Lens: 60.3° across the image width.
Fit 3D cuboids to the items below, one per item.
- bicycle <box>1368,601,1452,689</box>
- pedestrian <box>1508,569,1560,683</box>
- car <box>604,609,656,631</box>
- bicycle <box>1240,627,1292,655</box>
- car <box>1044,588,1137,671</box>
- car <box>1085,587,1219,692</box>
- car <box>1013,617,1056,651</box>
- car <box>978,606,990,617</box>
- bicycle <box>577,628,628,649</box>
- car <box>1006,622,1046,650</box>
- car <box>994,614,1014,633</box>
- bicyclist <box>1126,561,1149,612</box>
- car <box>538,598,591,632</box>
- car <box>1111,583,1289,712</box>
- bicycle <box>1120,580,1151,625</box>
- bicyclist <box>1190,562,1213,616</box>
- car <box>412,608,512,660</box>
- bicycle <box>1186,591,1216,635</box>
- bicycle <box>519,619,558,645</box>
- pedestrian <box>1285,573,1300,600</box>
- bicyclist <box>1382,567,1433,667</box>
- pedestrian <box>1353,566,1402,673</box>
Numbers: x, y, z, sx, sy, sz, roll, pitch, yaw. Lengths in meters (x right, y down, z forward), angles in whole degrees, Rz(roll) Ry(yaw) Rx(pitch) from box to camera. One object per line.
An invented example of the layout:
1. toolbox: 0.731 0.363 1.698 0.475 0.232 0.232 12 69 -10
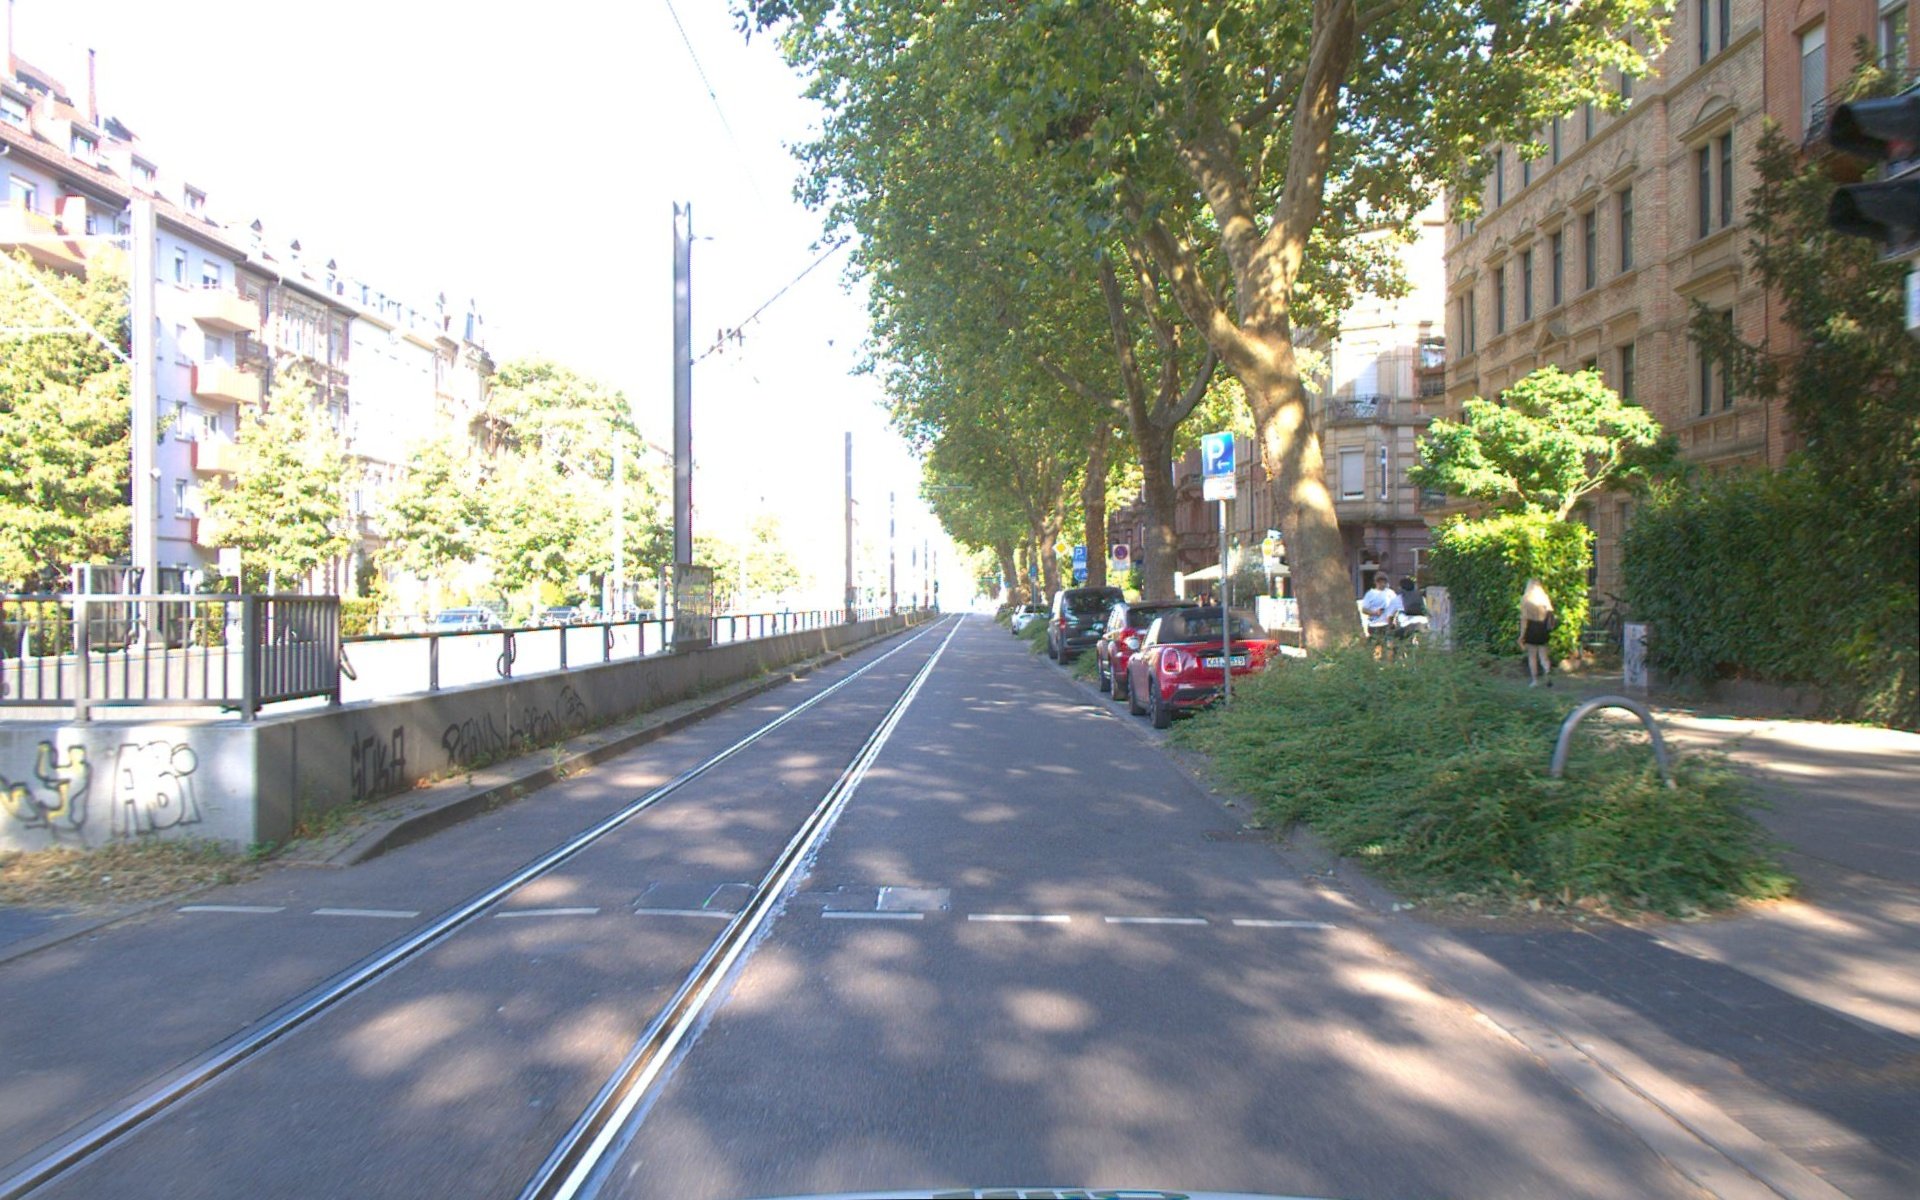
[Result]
1. bicycle: 6.405 0.613 23.628 0.549 1.199 2.225 0 0 -1
2. pedestrian: 8.503 0.381 24.522 0.519 1.656 0.618 -2 0 1
3. car: -26.341 1.595 132.143 3.913 1.653 1.821 2 -1 -9
4. bicycle: 10.477 1.401 56.578 1.660 0.933 0.601 0 -1 -11
5. car: 3.386 0.742 43.759 1.953 2.049 5.200 -1 0 -1
6. car: 3.101 0.661 27.520 1.679 1.576 4.500 -1 -2 0
7. car: 3.403 1.546 76.072 1.765 1.503 4.646 0 -1 0
8. car: 3.531 1.745 243.751 1.710 1.487 3.644 3 -1 0
9. bicycle: -20.177 2.177 93.407 2.751 1.118 0.636 3 -1 -33
10. car: 3.220 1.744 81.291 1.792 1.350 4.000 0 -1 0
11. car: 3.865 2.071 145.794 1.583 1.615 4.416 -1 -1 0
12. bicyclist: 5.066 -0.379 47.153 0.558 1.405 0.644 0 -2 0
13. car: -20.436 0.787 85.575 1.795 1.612 3.998 3 -1 -2
14. car: 3.039 0.624 21.676 1.679 1.488 3.998 1 -2 -1
15. bicycle: 5.022 0.086 47.381 0.549 1.199 2.225 4 -2 0
16. bicyclist: 6.878 -0.314 47.176 0.558 1.513 0.644 0 -1 0
17. car: -16.021 1.072 53.399 1.931 1.530 4.406 3 -1 -2
18. bicycle: 6.880 0.388 47.298 0.549 1.199 2.021 1 -2 0
19. bicycle: -20.932 1.593 82.131 1.771 1.199 0.562 3 -1 3
20. pedestrian: 14.160 -0.583 70.510 0.545 1.158 0.526 0 -1 0
21. bicyclist: 6.390 0.234 23.632 0.532 1.404 0.644 0 0 -1
22. pedestrian: 7.195 0.326 28.522 0.675 1.816 0.644 0 0 -1
